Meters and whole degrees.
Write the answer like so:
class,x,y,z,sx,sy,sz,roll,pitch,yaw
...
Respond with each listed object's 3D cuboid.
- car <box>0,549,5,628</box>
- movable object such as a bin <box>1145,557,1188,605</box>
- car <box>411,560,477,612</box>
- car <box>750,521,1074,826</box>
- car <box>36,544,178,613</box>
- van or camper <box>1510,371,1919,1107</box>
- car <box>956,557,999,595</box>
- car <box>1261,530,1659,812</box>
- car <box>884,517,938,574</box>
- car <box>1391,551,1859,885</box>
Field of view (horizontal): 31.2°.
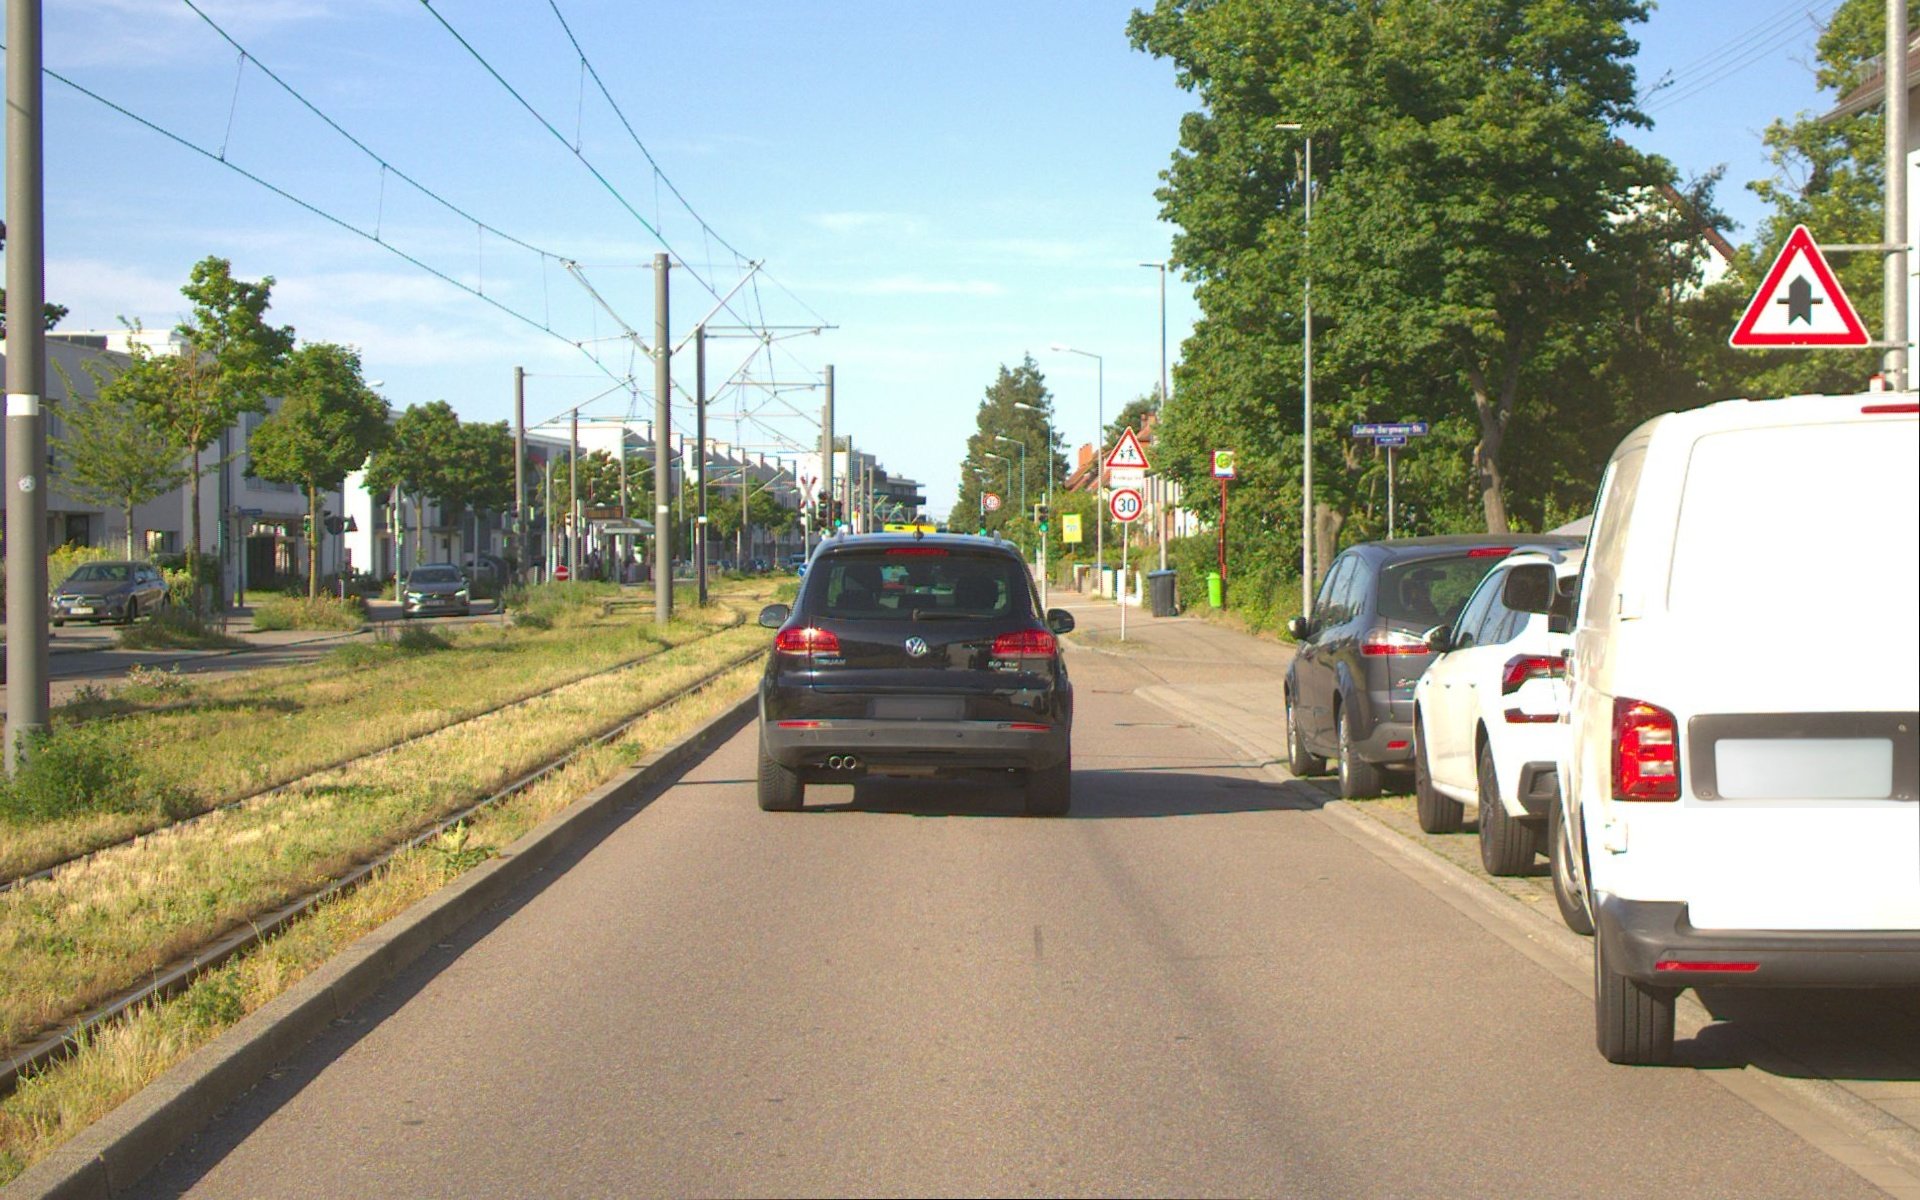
class,x,y,z,sx,sy,sz,roll,pitch,yaw
car,-18.913,-0.225,63.503,1.544,1.486,3.775,1,0,-2
movable object such as a bin,4.807,-0.446,79.992,0.976,1.107,1.170,0,1,3
car,-14.506,-0.404,96.810,1.688,1.384,4.389,-2,1,-7
car,-0.349,0.393,21.236,1.775,1.664,4.000,2,0,-2
car,-19.034,-0.480,76.855,1.811,1.456,4.317,2,0,4
van or camper,2.979,0.322,11.711,2.028,1.950,5.293,0,1,7
car,0.767,-1.093,154.796,1.775,1.664,4.000,0,1,-2
car,3.203,0.383,22.987,1.791,1.623,4.861,-2,1,-1
car,-2.220,-2.503,157.747,2.394,2.556,5.530,0,1,0
car,3.244,0.515,17.507,1.656,1.487,4.159,0,0,1
